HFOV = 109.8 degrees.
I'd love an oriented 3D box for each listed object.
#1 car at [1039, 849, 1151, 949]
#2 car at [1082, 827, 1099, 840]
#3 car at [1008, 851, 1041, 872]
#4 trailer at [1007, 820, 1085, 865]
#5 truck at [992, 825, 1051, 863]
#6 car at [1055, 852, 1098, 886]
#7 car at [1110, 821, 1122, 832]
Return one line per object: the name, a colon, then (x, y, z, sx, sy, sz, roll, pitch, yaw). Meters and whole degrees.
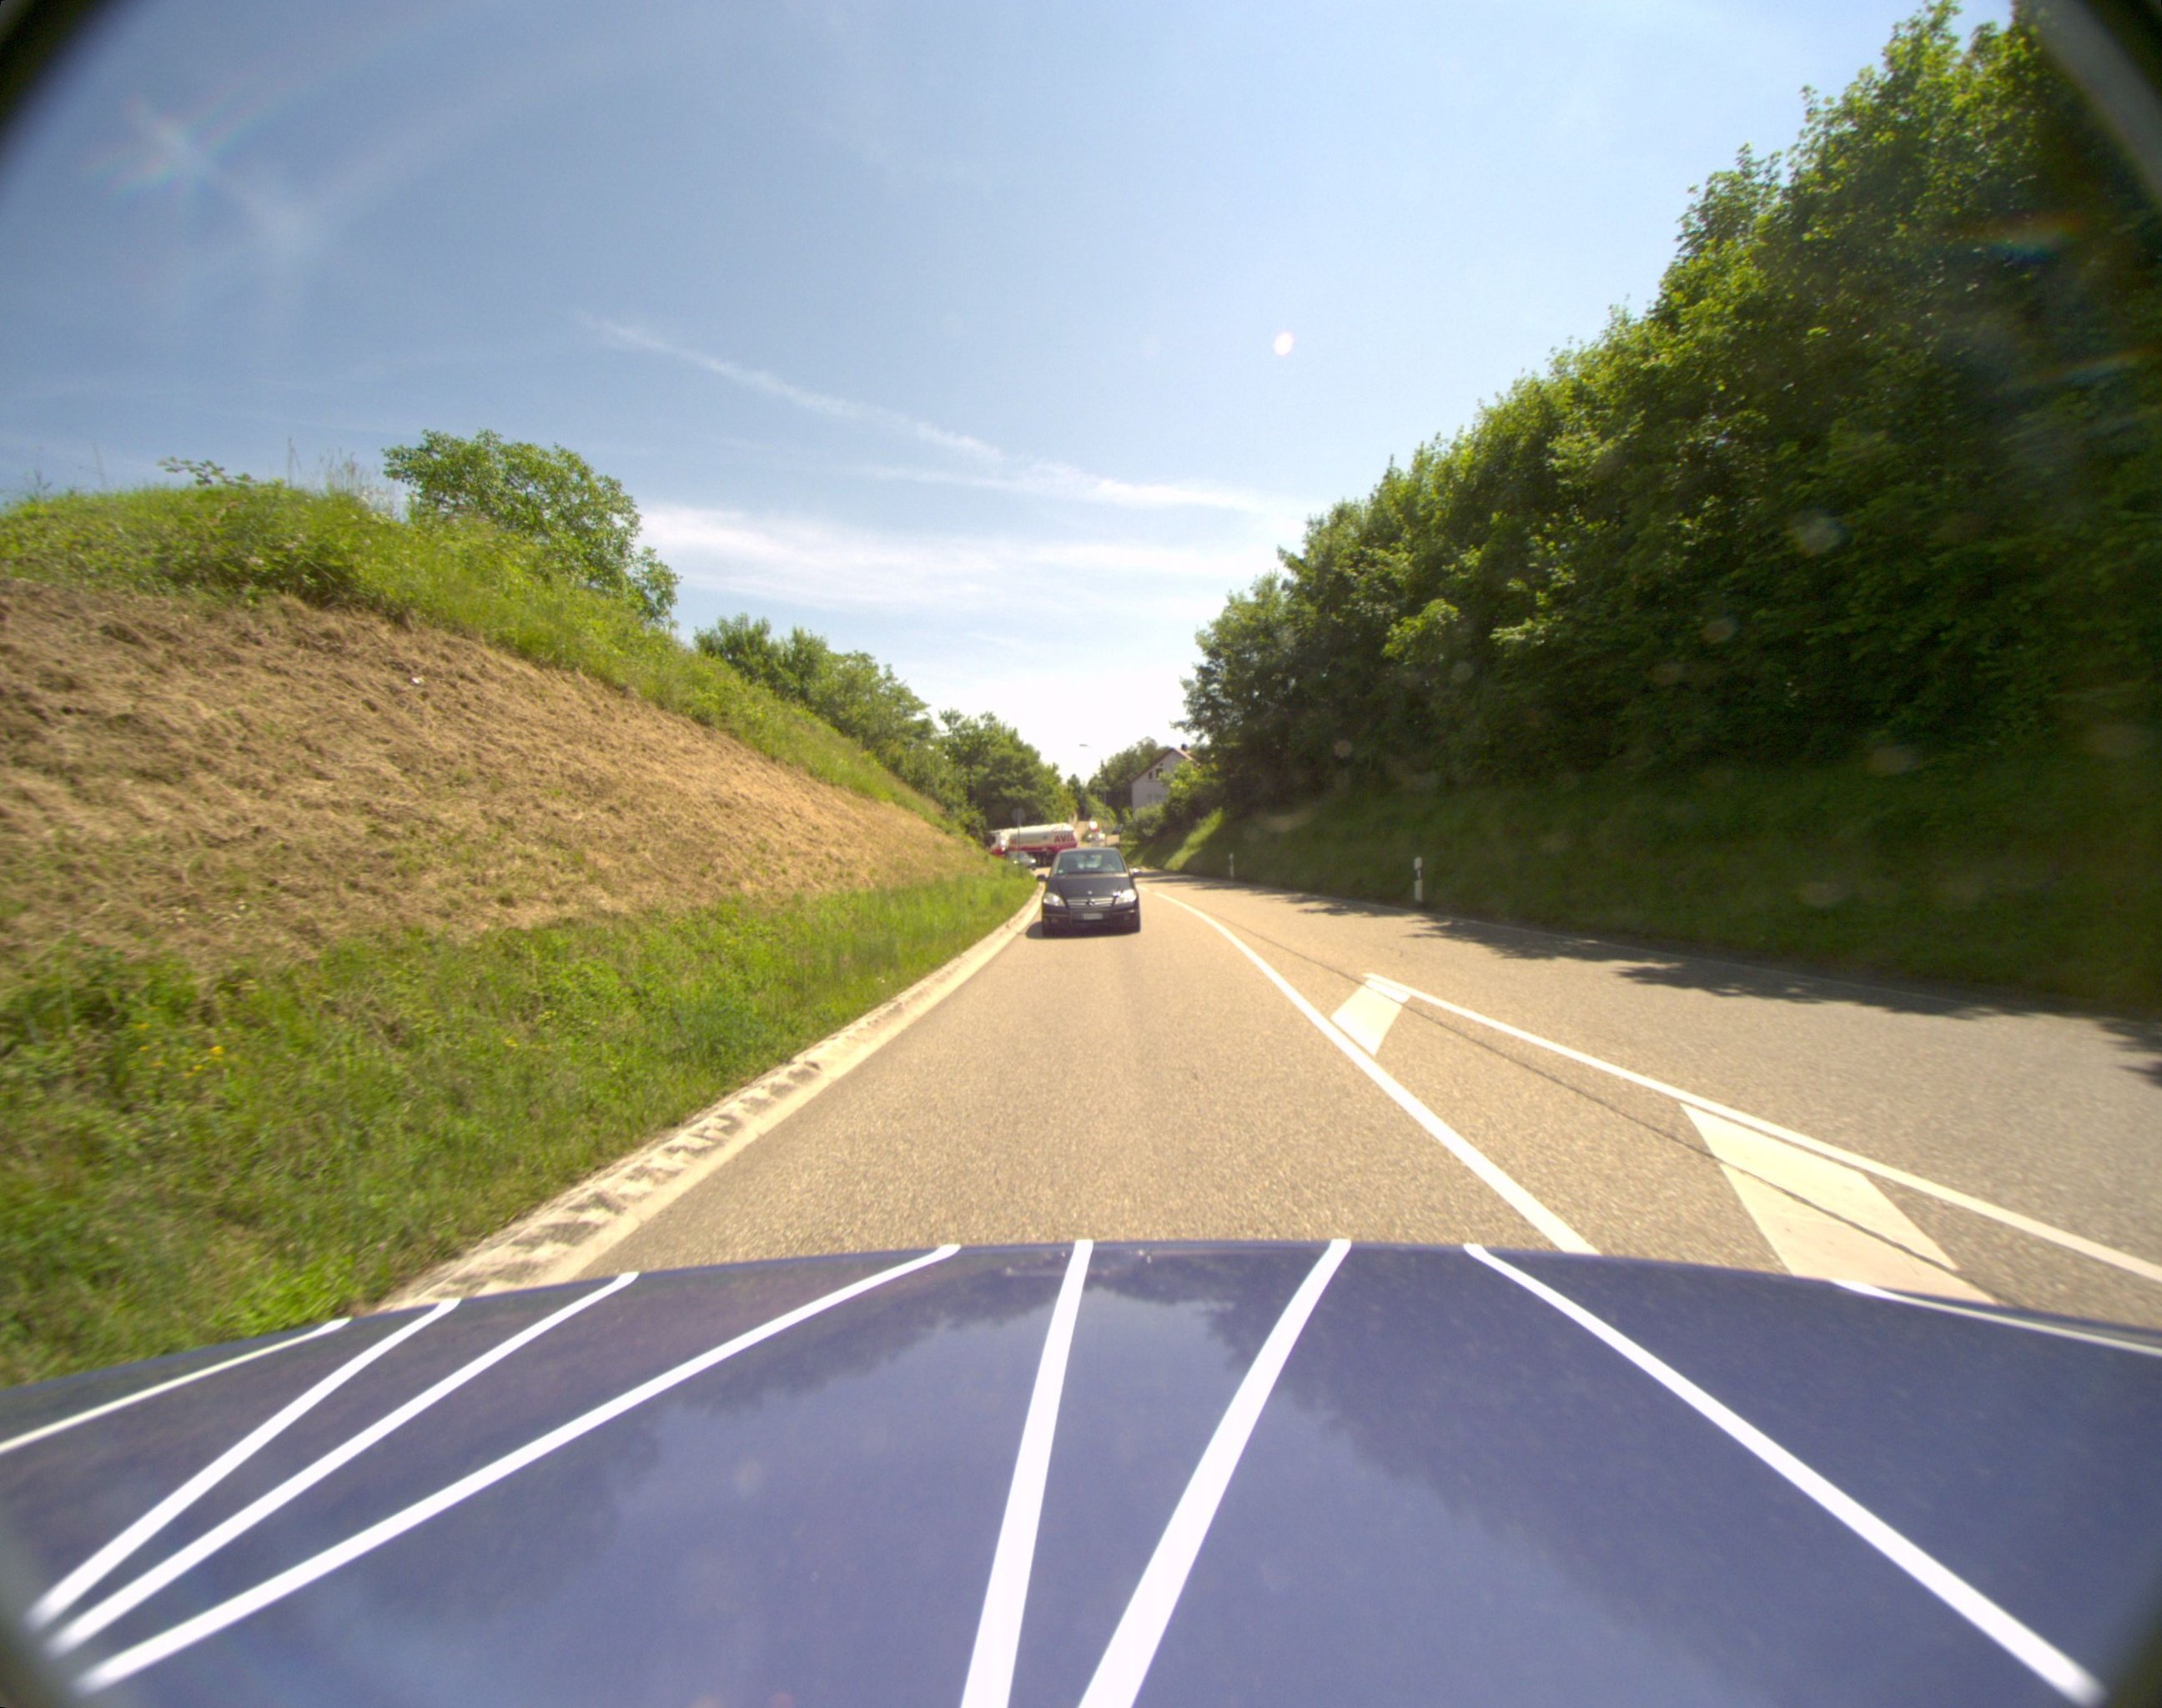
car: (0.235, 0.734, 14.457, 1.796, 1.570, 3.799, -2, 1, 0)
car: (1.305, -2.928, 106.642, 1.998, 1.499, 3.998, -3, 4, 5)
car: (-4.096, 0.477, 54.717, 1.757, 1.281, 4.139, -3, 2, -13)
trailer: (-3.161, -0.937, 63.620, 2.644, 3.354, 11.120, -3, 1, -23)
truck: (-5.436, -0.890, 68.253, 2.638, 3.152, 7.052, -3, 2, -28)
car: (-0.224, 0.617, 32.226, 1.648, 1.314, 3.437, 1, 0, -3)
car: (5.662, -4.450, 122.409, 1.749, 1.382, 3.997, -4, 5, 2)
